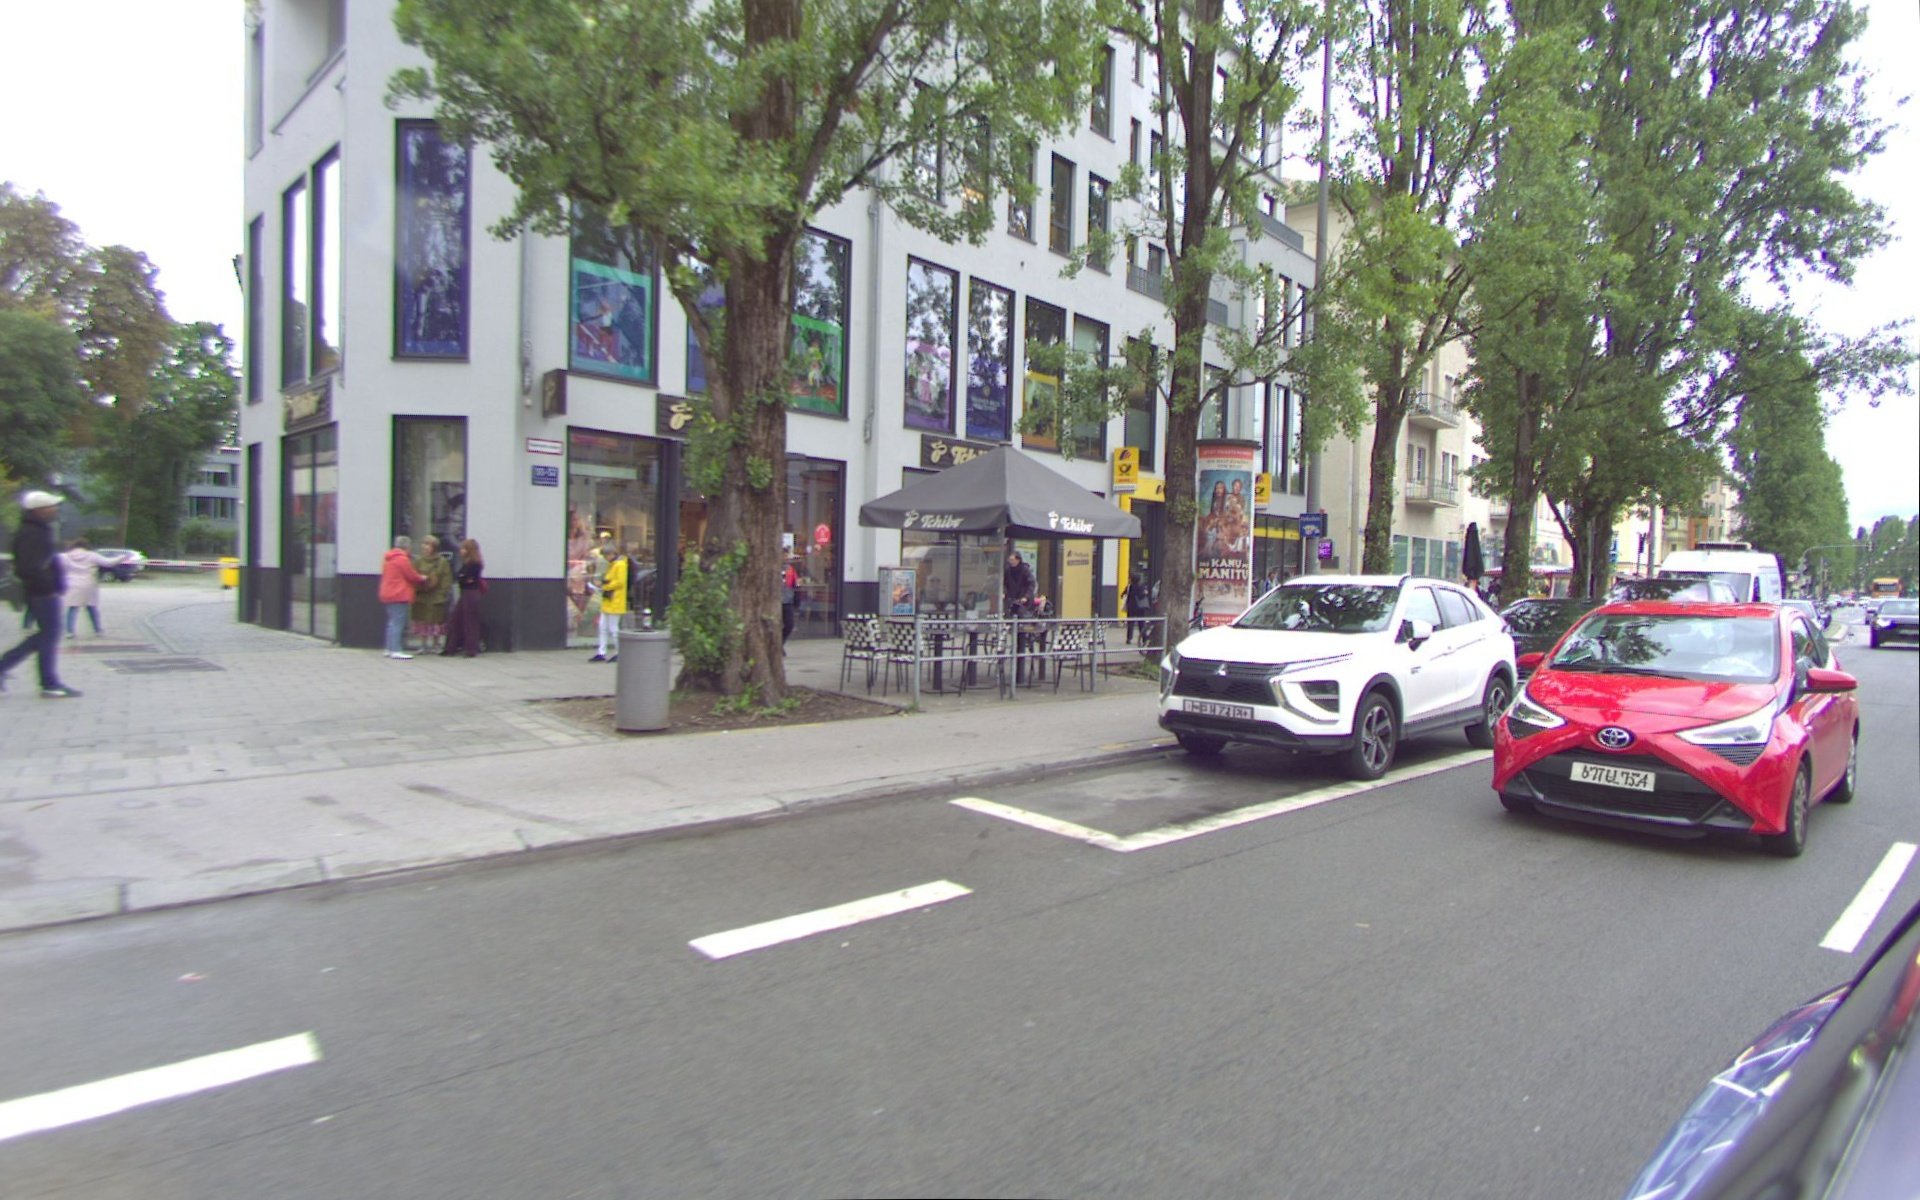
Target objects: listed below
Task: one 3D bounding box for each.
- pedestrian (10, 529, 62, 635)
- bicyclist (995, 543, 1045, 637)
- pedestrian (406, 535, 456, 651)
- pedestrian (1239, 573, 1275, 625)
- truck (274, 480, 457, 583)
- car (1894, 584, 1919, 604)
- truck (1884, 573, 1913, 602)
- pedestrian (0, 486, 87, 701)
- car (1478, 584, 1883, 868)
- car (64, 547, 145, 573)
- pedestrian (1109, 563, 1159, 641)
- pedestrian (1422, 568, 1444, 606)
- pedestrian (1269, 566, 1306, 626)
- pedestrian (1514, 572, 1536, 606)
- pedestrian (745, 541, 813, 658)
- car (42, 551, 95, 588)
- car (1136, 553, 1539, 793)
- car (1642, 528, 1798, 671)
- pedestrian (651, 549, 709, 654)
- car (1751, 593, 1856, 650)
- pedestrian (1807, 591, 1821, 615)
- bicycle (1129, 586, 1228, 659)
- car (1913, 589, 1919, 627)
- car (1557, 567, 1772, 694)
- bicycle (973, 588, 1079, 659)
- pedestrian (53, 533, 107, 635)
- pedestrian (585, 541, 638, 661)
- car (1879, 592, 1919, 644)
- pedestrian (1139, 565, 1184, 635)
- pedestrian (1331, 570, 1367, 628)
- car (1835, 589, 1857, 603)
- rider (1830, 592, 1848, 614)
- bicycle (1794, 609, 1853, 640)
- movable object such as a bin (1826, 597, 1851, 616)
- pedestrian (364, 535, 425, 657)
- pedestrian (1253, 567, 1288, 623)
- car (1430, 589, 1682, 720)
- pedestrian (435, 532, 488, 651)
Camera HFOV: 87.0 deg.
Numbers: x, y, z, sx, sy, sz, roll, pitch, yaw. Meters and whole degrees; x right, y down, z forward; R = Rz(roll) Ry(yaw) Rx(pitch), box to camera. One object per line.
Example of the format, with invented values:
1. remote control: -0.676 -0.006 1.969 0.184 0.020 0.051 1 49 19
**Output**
1. pedestrian: -14.712 -0.289 16.124 0.490 1.644 0.508 0 1 -29
2. bicyclist: 0.956 -0.171 16.164 0.432 1.466 0.640 0 2 -40
3. pedestrian: -7.667 -0.111 14.660 0.539 1.644 0.506 -1 1 -41
4. pedestrian: 9.147 -0.041 31.221 0.697 1.554 0.765 0 3 -43
5. truck: -22.082 -2.464 37.719 5.582 3.507 2.220 0 2 -40
6. car: 85.906 -0.535 91.619 1.854 1.726 3.939 4 3 42
7. truck: 118.458 -1.595 127.734 2.535 3.531 7.630 3 2 43
8. pedestrian: -8.805 -0.079 9.493 0.910 1.948 0.647 0 3 -42
9. car: 5.203 0.632 7.139 3.536 1.464 1.667 -1 2 -43
10. car: -55.112 -2.570 65.211 3.931 1.528 1.731 0 3 -42
11. pedestrian: 3.639 0.034 21.142 0.738 1.577 0.683 0 2 -44
12. pedestrian: 20.912 -0.568 44.768 0.752 1.671 0.601 0 2 -44
13. pedestrian: 9.340 -0.129 28.826 0.691 1.669 0.785 3 2 43
14. pedestrian: 26.014 -0.521 46.583 0.718 1.546 0.677 0 2 -45
15. pedestrian: -2.805 -0.019 15.709 0.668 1.746 0.757 3 2 43
16. car: -39.609 -1.364 44.968 1.704 1.528 3.994 0 3 -41
17. car: 3.652 0.488 9.343 4.334 1.707 1.729 0 1 -43
18. car: 16.837 -0.067 22.302 1.994 2.775 5.465 1 1 45
19. pedestrian: -4.380 0.009 15.858 0.558 1.595 0.672 2 2 21
20. car: 23.572 0.545 28.242 4.077 1.472 1.727 0 0 -43
21. pedestrian: 68.021 0.228 80.611 0.727 1.823 0.702 3 3 34
22. bicycle: 3.813 0.375 17.767 0.876 1.153 1.516 1 3 -28
23. car: 48.147 0.363 49.761 1.868 1.792 4.170 1 2 43
24. car: 11.815 0.406 16.851 4.698 1.827 1.932 0 1 -42
25. bicycle: 1.081 0.361 16.371 1.772 1.076 0.591 0 2 -41
26. pedestrian: -14.125 -0.261 16.255 0.540 1.600 0.508 0 1 -29
27. pedestrian: -4.932 0.002 14.320 0.559 1.654 0.491 0 2 -39
28. car: 29.227 0.508 30.804 1.734 1.488 3.990 2 2 41
29. pedestrian: 4.636 -0.010 23.336 0.738 1.577 0.683 0 2 -44
30. pedestrian: 12.144 -0.046 31.596 0.725 1.745 0.723 2 2 -9
31. car: 117.723 -0.538 134.499 1.994 1.660 3.937 3 2 43
32. rider: 53.598 0.164 61.704 0.729 1.256 0.722 5 4 41
33. bicycle: 30.188 0.860 35.401 0.535 1.068 1.578 0 -2 -8
34. movable object such as a bin: 53.558 0.396 61.716 1.086 1.075 0.736 5 4 41
35. pedestrian: -7.828 -0.062 14.025 0.541 1.644 0.505 0 1 12
36. pedestrian: 9.186 -0.156 29.949 0.691 1.604 0.761 3 2 43
37. car: 8.038 0.593 13.457 4.495 1.451 1.772 0 0 -44
38. pedestrian: -7.076 -0.127 14.357 0.546 1.644 0.500 1 1 40
